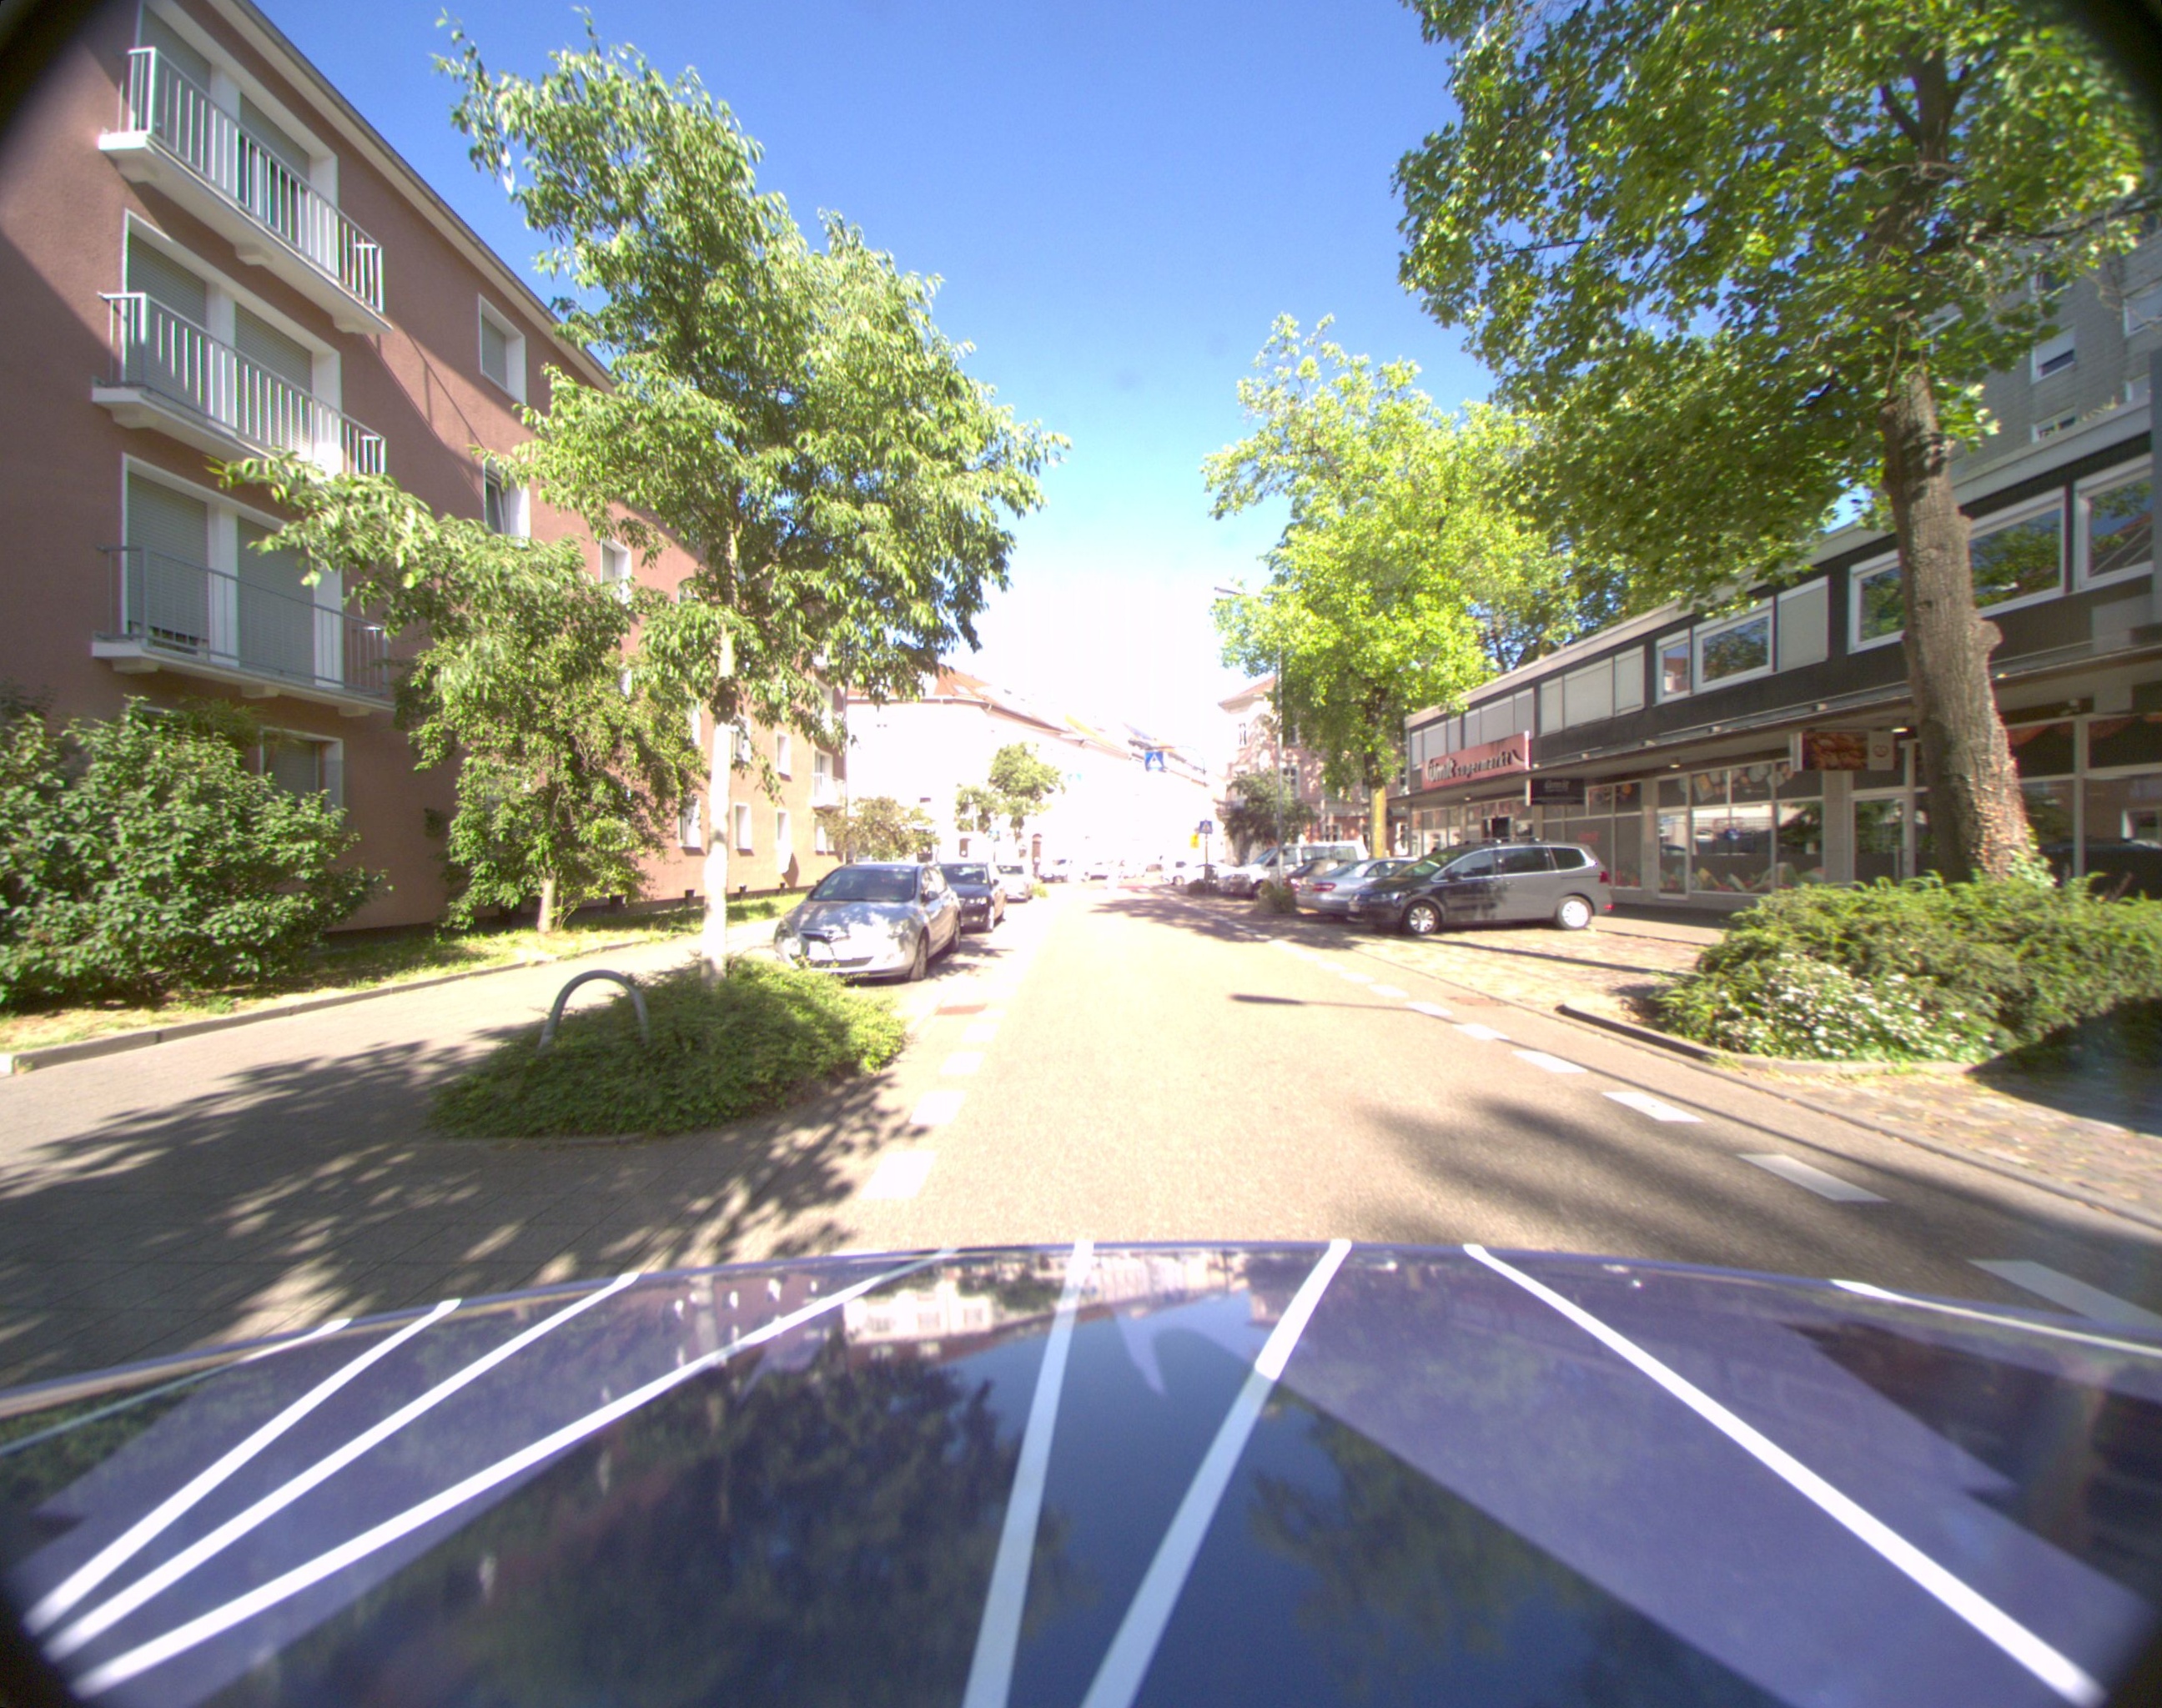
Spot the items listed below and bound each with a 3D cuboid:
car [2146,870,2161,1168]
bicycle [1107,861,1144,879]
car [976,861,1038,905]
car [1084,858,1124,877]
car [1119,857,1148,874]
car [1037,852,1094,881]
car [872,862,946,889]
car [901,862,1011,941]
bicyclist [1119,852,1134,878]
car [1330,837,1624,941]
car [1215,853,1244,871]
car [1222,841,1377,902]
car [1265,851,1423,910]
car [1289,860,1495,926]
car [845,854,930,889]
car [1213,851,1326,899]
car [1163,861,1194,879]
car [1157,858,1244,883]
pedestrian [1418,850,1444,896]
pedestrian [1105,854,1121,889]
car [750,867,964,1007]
[{"bbox_3d":[7.406,0.803,3.146,3.595,1.552,1.672,-2,0,1],"label":"car"},{"bbox_3d":[2.950,1.066,50.433,2.286,1.179,0.876,0,0,14],"label":"bicycle"},{"bbox_3d":[-2.585,0.977,27.318,1.736,1.420,4.000,-1,0,1],"label":"car"},{"bbox_3d":[1.924,1.057,61.905,2.130,1.487,3.951,-1,0,19],"label":"car"},{"bbox_3d":[4.680,1.022,67.515,1.632,1.412,3.299,0,0,23],"label":"car"},{"bbox_3d":[-1.013,0.830,52.699,1.908,1.924,4.818,0,0,26],"label":"car"},{"bbox_3d":[-9.309,1.138,41.304,3.648,1.394,1.568,-1,0,0],"label":"car"},{"bbox_3d":[-2.591,0.932,16.732,1.662,1.473,4.311,-1,0,1],"label":"car"},{"bbox_3d":[3.039,0.716,50.395,0.817,1.663,0.848,0,0,15],"label":"bicyclist"},{"bbox_3d":[7.611,0.649,14.928,4.781,1.767,1.874,-2,0,-1],"label":"car"},{"bbox_3d":[14.136,0.774,72.351,1.854,1.652,4.007,0,0,24],"label":"car"},{"bbox_3d":[7.762,0.598,27.289,4.996,1.958,1.909,-2,0,-2],"label":"car"},{"bbox_3d":[7.682,0.748,22.460,3.997,1.412,1.737,-4,0,-2],"label":"car"},{"bbox_3d":[7.043,0.866,17.475,3.998,1.390,1.759,-1,0,-2],"label":"car"},{"bbox_3d":[-11.806,1.048,46.571,4.756,2.002,1.999,-1,0,-4],"label":"car"},{"bbox_3d":[7.356,0.792,29.888,3.997,1.781,1.757,-1,0,-1],"label":"car"},{"bbox_3d":[8.588,1.378,66.793,1.996,1.455,4.005,0,0,18],"label":"car"},{"bbox_3d":[7.068,0.955,45.319,4.803,1.417,1.999,-1,0,-3],"label":"car"},{"bbox_3d":[11.914,0.636,25.871,0.529,1.547,0.663,-2,1,1],"label":"pedestrian"},{"bbox_3d":[1.513,0.822,36.229,0.727,1.630,0.808,0,1,0],"label":"pedestrian"},{"bbox_3d":[-2.798,0.960,10.458,1.720,1.445,4.000,0,1,1],"label":"car"}]
